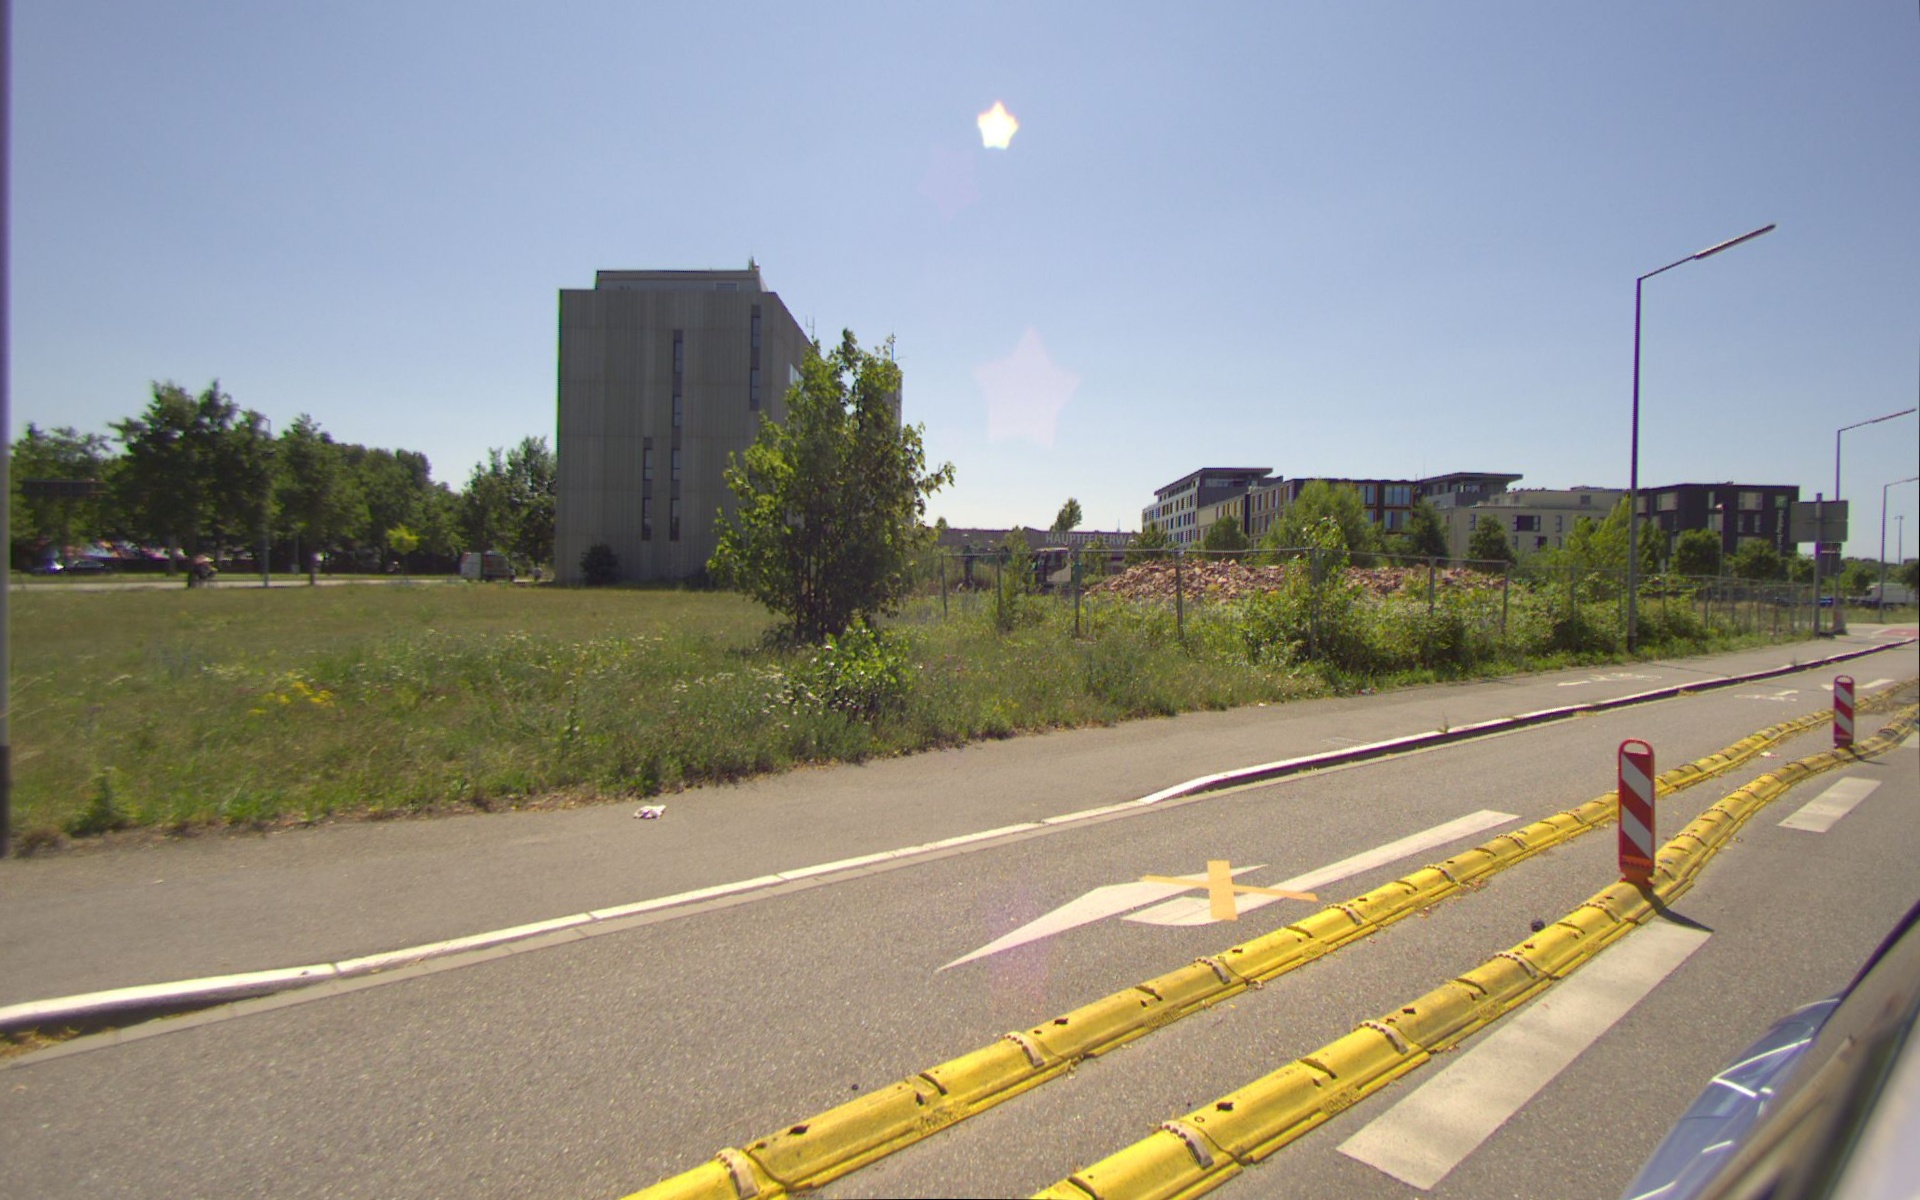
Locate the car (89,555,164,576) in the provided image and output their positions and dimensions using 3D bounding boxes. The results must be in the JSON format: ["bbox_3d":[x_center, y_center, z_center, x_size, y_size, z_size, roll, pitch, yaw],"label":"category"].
[{"bbox_3d":[-61.121,-2.499,74.293,1.830,1.440,4.407,1,1,2],"label":"car"}]

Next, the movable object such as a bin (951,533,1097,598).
[{"bbox_3d":[3.413,-1.728,53.093,7.458,3.188,2.815,-1,0,-34],"label":"movable object such as a bin"}]

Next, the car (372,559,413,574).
[{"bbox_3d":[-59.607,-3.510,106.395,1.830,1.440,4.407,1,1,2],"label":"car"}]

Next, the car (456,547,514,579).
[{"bbox_3d":[-42.088,-3.211,89.864,2.220,2.622,6.394,0,0,0],"label":"car"}]
